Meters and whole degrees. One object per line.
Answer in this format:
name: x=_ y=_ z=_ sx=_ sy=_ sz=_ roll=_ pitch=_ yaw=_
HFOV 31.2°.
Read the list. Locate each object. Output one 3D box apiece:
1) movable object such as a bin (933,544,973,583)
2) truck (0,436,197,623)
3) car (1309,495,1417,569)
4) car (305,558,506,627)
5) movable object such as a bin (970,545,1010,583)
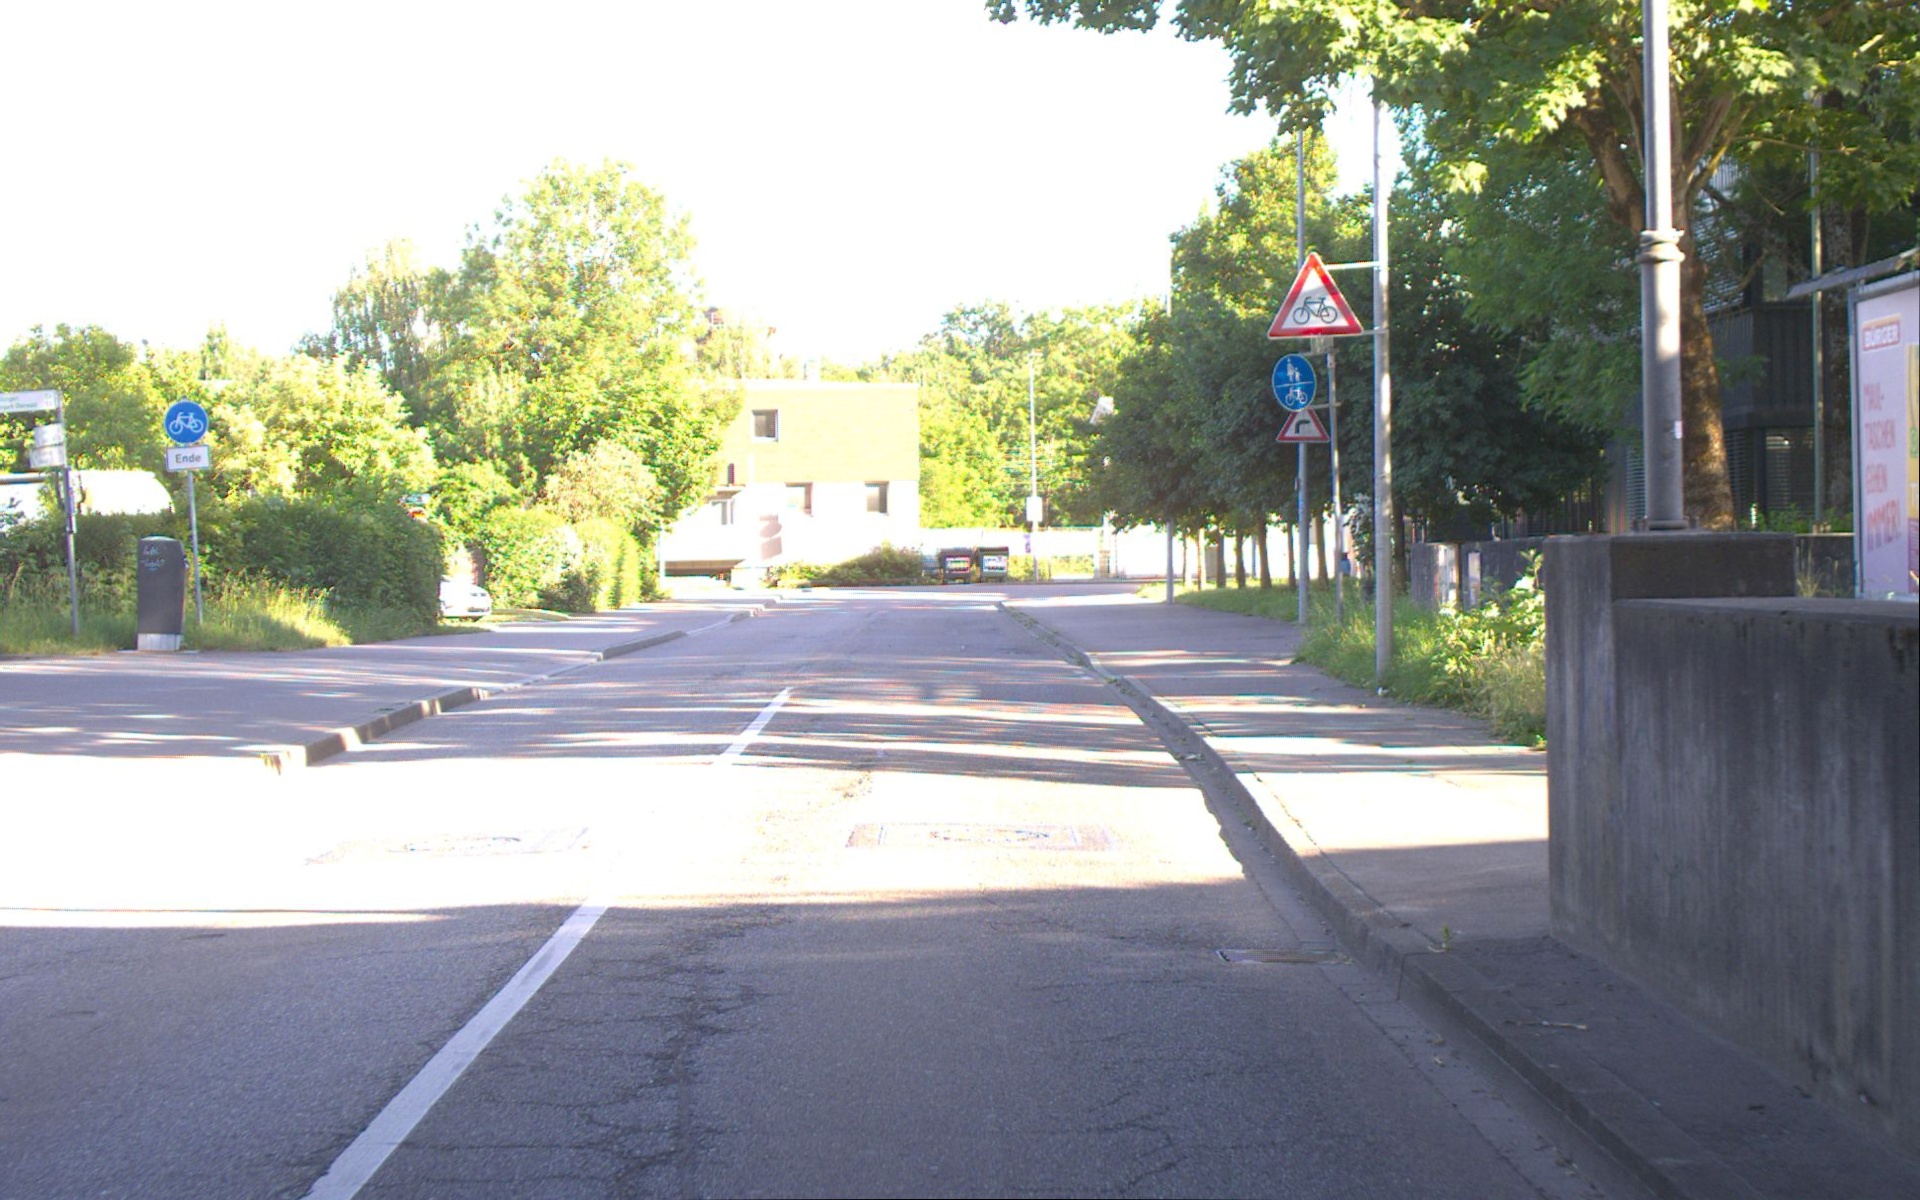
movable object such as a bin: x=-0.274 y=-1.375 z=130.206 sx=1.364 sy=1.413 sz=1.066 roll=1 pitch=0 yaw=-7
truck: x=-21.208 y=-1.434 z=75.289 sx=9.319 sy=3.870 sz=2.706 roll=-1 pitch=-1 yaw=29
car: x=10.470 y=-1.745 z=89.618 sx=1.835 sy=1.808 sz=4.667 roll=1 pitch=0 yaw=-5
car: x=-12.737 y=-0.176 z=78.949 sx=4.216 sy=1.485 sz=1.874 roll=1 pitch=0 yaw=26
movable object such as a bin: x=1.126 y=-1.350 z=130.416 sx=1.364 sy=1.413 sz=1.066 roll=1 pitch=0 yaw=-7
